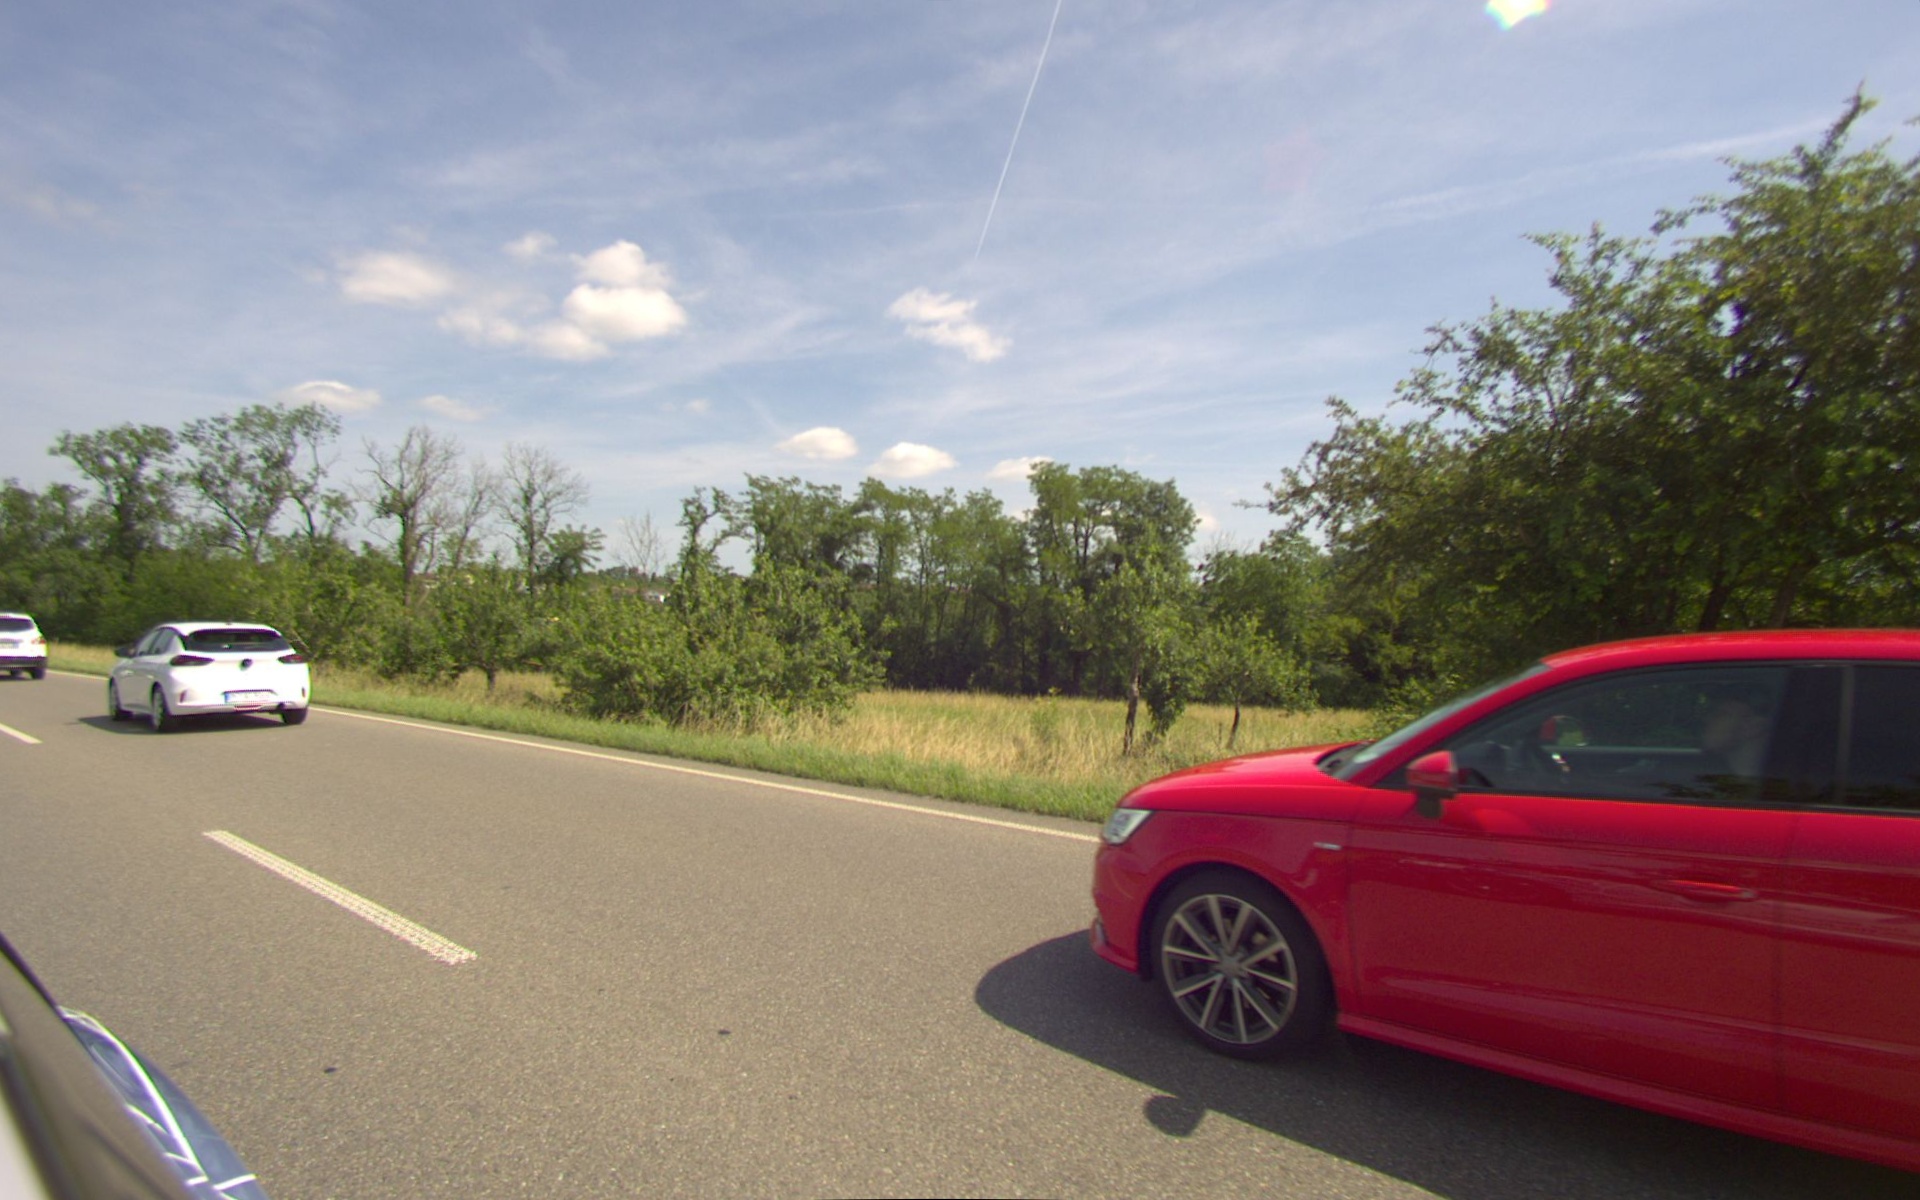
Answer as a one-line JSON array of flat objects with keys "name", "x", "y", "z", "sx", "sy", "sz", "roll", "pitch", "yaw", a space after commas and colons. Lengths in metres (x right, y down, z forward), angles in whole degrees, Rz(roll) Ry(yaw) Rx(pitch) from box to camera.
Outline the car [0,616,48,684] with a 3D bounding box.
[{"name": "car", "x": -24.498, "y": 1.211, "z": 25.352, "sx": 4.358, "sy": 1.629, "sz": 1.815, "roll": -1, "pitch": -2, "yaw": 39}]

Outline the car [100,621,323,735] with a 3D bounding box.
[{"name": "car", "x": -10.803, "y": 1.047, "z": 14.526, "sx": 3.770, "sy": 1.425, "sz": 1.733, "roll": -2, "pitch": -3, "yaw": 40}]

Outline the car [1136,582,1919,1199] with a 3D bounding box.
[{"name": "car", "x": 2.760, "y": 0.701, "z": 2.761, "sx": 4.180, "sy": 1.409, "sz": 1.801, "roll": -1, "pitch": -3, "yaw": 41}]
